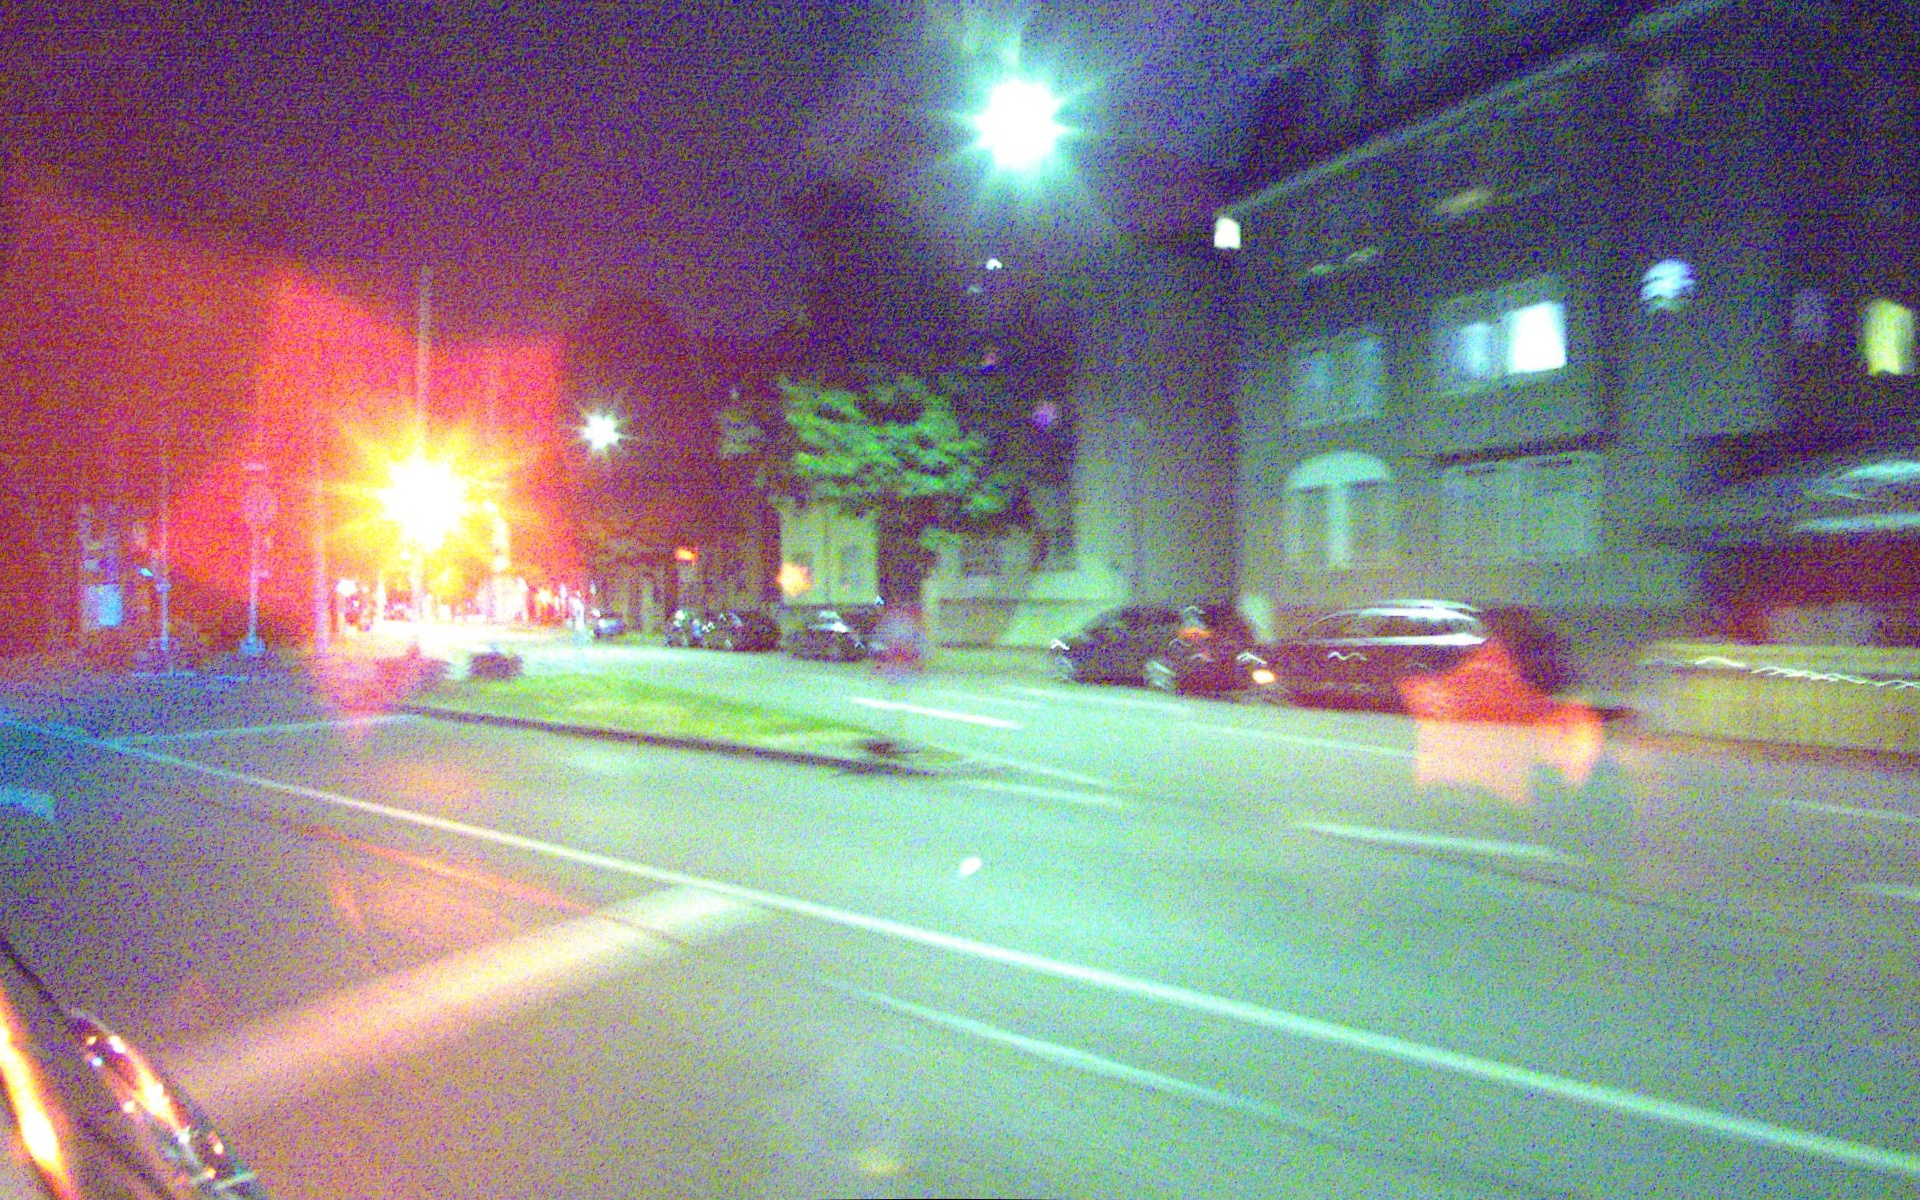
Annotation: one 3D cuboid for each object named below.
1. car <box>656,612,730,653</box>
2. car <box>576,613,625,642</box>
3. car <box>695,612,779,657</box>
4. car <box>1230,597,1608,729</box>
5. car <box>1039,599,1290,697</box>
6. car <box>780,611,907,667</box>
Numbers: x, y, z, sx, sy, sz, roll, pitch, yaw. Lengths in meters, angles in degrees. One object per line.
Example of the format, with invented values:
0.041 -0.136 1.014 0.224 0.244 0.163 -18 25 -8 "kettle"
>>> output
-10.788 1.267 40.726 1.616 1.444 4.362 -3 1 -32 "car"
-19.510 1.473 54.826 1.607 1.475 3.523 0 -1 -36 "car"
-8.128 1.213 36.553 1.530 1.444 4.360 -3 1 -32 "car"
6.095 0.748 14.018 1.835 1.444 4.456 -3 1 -32 "car"
3.529 0.778 18.293 1.835 1.490 4.485 -2 0 -32 "car"
-3.489 1.086 29.676 1.836 1.444 4.415 -2 0 -34 "car"
